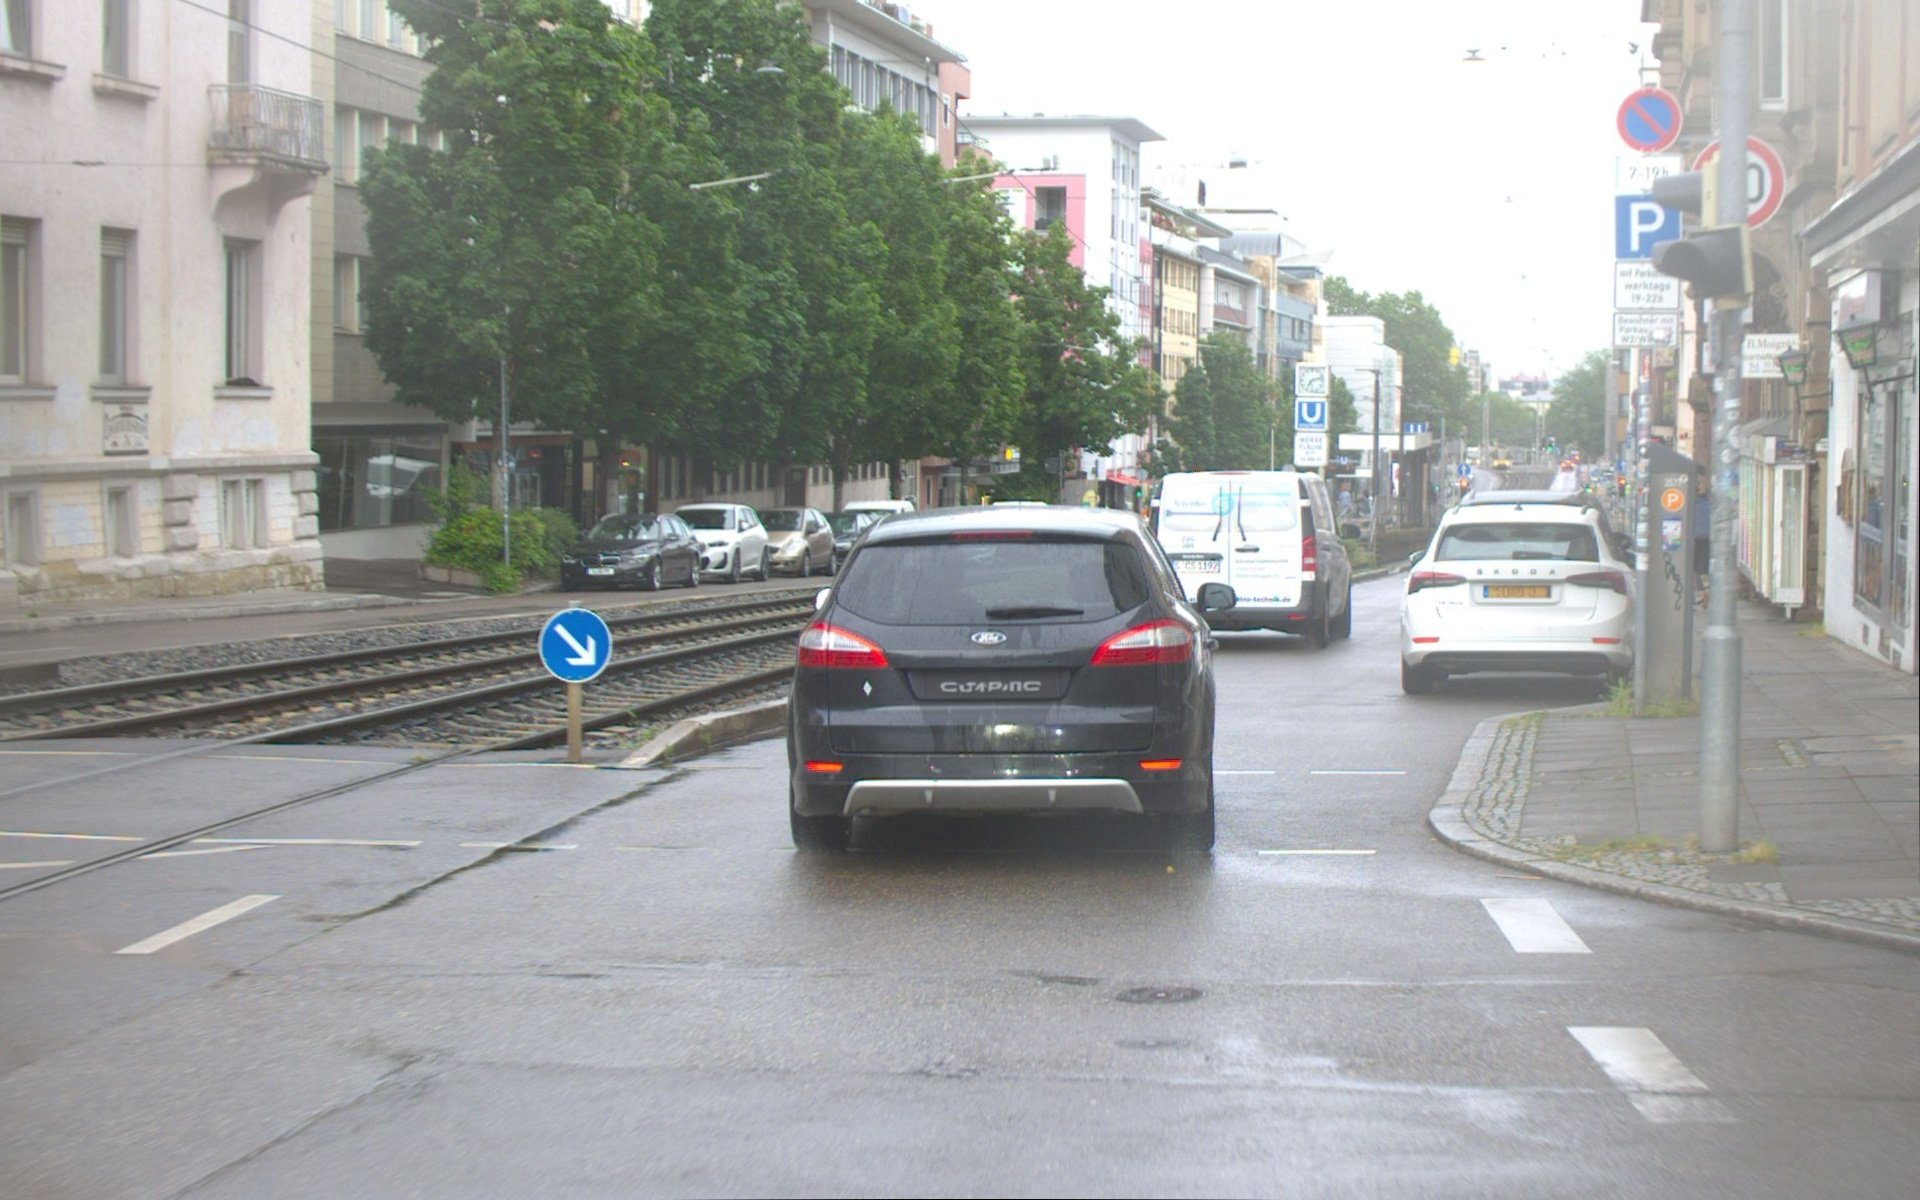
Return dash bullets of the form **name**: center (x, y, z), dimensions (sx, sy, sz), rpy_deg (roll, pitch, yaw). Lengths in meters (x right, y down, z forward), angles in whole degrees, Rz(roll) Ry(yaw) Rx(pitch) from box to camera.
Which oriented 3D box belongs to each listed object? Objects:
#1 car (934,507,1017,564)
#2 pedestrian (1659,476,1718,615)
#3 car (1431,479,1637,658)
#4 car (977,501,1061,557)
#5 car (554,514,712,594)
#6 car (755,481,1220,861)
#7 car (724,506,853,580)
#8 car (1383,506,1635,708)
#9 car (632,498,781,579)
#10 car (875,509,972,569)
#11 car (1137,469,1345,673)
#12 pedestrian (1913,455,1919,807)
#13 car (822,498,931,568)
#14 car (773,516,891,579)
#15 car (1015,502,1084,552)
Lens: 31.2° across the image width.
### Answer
- **car**: center (0.475, -1.871, 100.770), dimensions (1.668, 1.553, 4.044), rpy_deg (2, 0, 11)
- **pedestrian**: center (9.756, -0.742, 46.060), dimensions (0.703, 1.813, 0.961), rpy_deg (-2, 2, 11)
- **car**: center (5.735, -0.306, 34.053), dimensions (1.846, 1.627, 4.584), rpy_deg (1, 0, 11)
- **car**: center (1.918, -2.259, 110.242), dimensions (1.856, 1.631, 4.933), rpy_deg (2, 0, 11)
- **car**: center (-6.123, -0.841, 64.906), dimensions (1.694, 1.373, 4.718), rpy_deg (2, 0, 11)
- **car**: center (0.114, 0.271, 15.646), dimensions (1.842, 1.502, 4.000), rpy_deg (0, 0, 0)
- **car**: center (-3.808, -1.250, 77.167), dimensions (1.856, 1.543, 4.429), rpy_deg (2, 0, 11)
- **car**: center (4.406, 0.037, 27.158), dimensions (1.802, 1.450, 4.584), rpy_deg (0, 0, 11)
- **car**: center (-5.170, -1.241, 70.805), dimensions (1.856, 1.543, 4.718), rpy_deg (2, 0, 11)
- **car**: center (-0.966, -1.659, 93.995), dimensions (1.856, 1.521, 4.044), rpy_deg (2, 0, 11)
- **car**: center (3.125, -0.379, 37.444), dimensions (1.989, 2.053, 4.644), rpy_deg (1, 2, 8)
- **pedestrian**: center (4.616, 0.140, 15.007), dimensions (0.688, 1.566, 0.763), rpy_deg (0, 0, -1)
- **car**: center (-2.111, -1.698, 88.211), dimensions (1.856, 1.695, 4.429), rpy_deg (2, 0, 11)
- **car**: center (-3.035, -1.239, 82.144), dimensions (1.856, 1.413, 4.429), rpy_deg (-1, 0, 11)
- **car**: center (3.063, -2.468, 116.919), dimensions (1.696, 1.568, 4.044), rpy_deg (2, 0, 11)
